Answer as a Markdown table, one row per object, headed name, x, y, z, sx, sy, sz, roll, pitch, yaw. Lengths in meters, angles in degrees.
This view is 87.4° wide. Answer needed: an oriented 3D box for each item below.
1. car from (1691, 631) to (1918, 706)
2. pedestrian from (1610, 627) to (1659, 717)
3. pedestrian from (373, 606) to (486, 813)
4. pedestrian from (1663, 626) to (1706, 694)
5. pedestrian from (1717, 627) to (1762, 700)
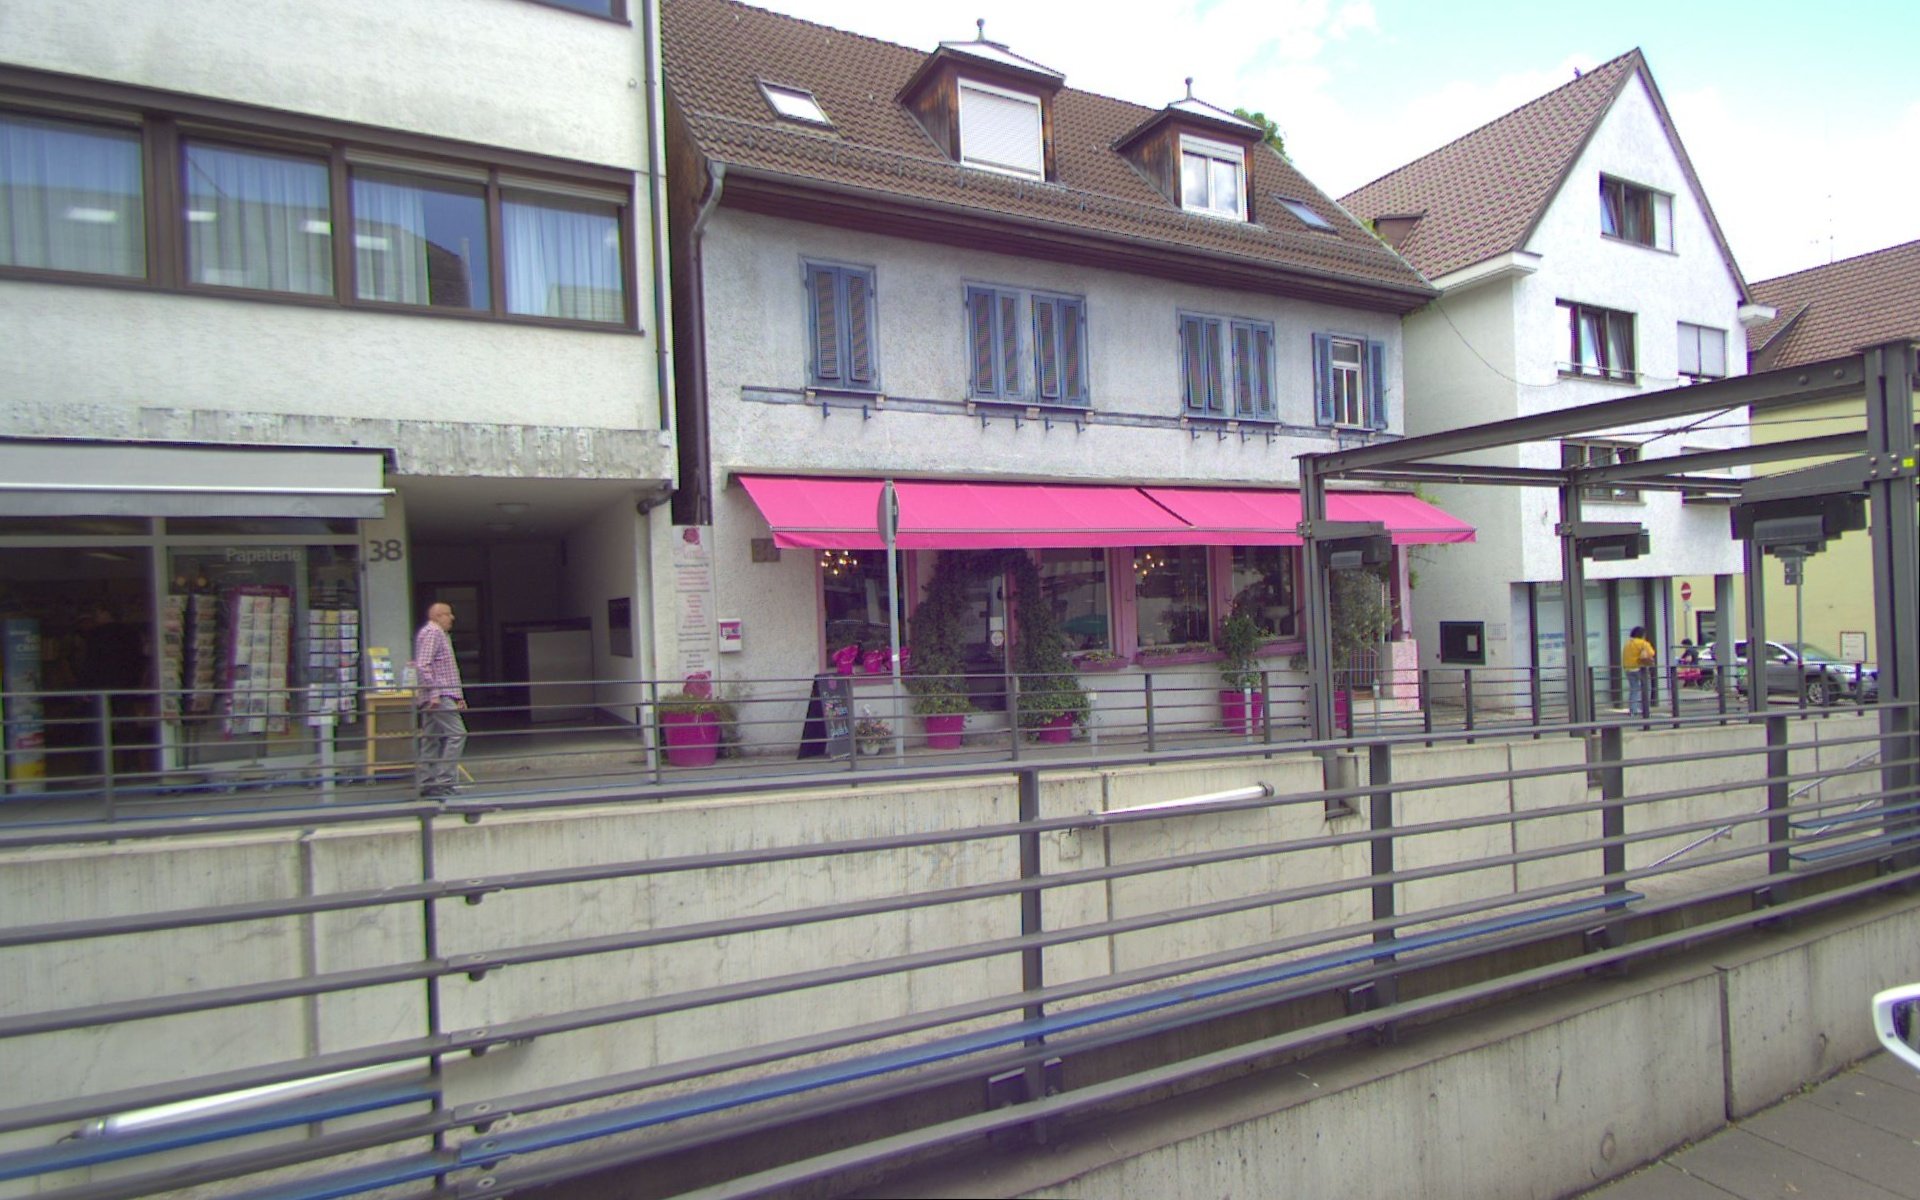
| name | x | y | z | sx | sy | sz | roll | pitch | yaw |
| --- | --- | --- | --- | --- | --- | --- | --- | --- | --- |
| car | 21.573 | 1.695 | 25.887 | 1.805 | 1.754 | 4.179 | 1 | -2 | -16 |
| pedestrian | 13.157 | 1.389 | 19.593 | 0.570 | 1.711 | 0.575 | 1 | 0 | -30 |
| pedestrian | -4.611 | 0.925 | 8.785 | 0.816 | 1.711 | 0.637 | 1 | -2 | -25 |
| pedestrian | 18.782 | 1.532 | 26.046 | 0.722 | 1.711 | 0.648 | 1 | 0 | -32 |
| pedestrian | 18.877 | 1.534 | 24.324 | 0.671 | 1.711 | 0.622 | 1 | 0 | -30 |
